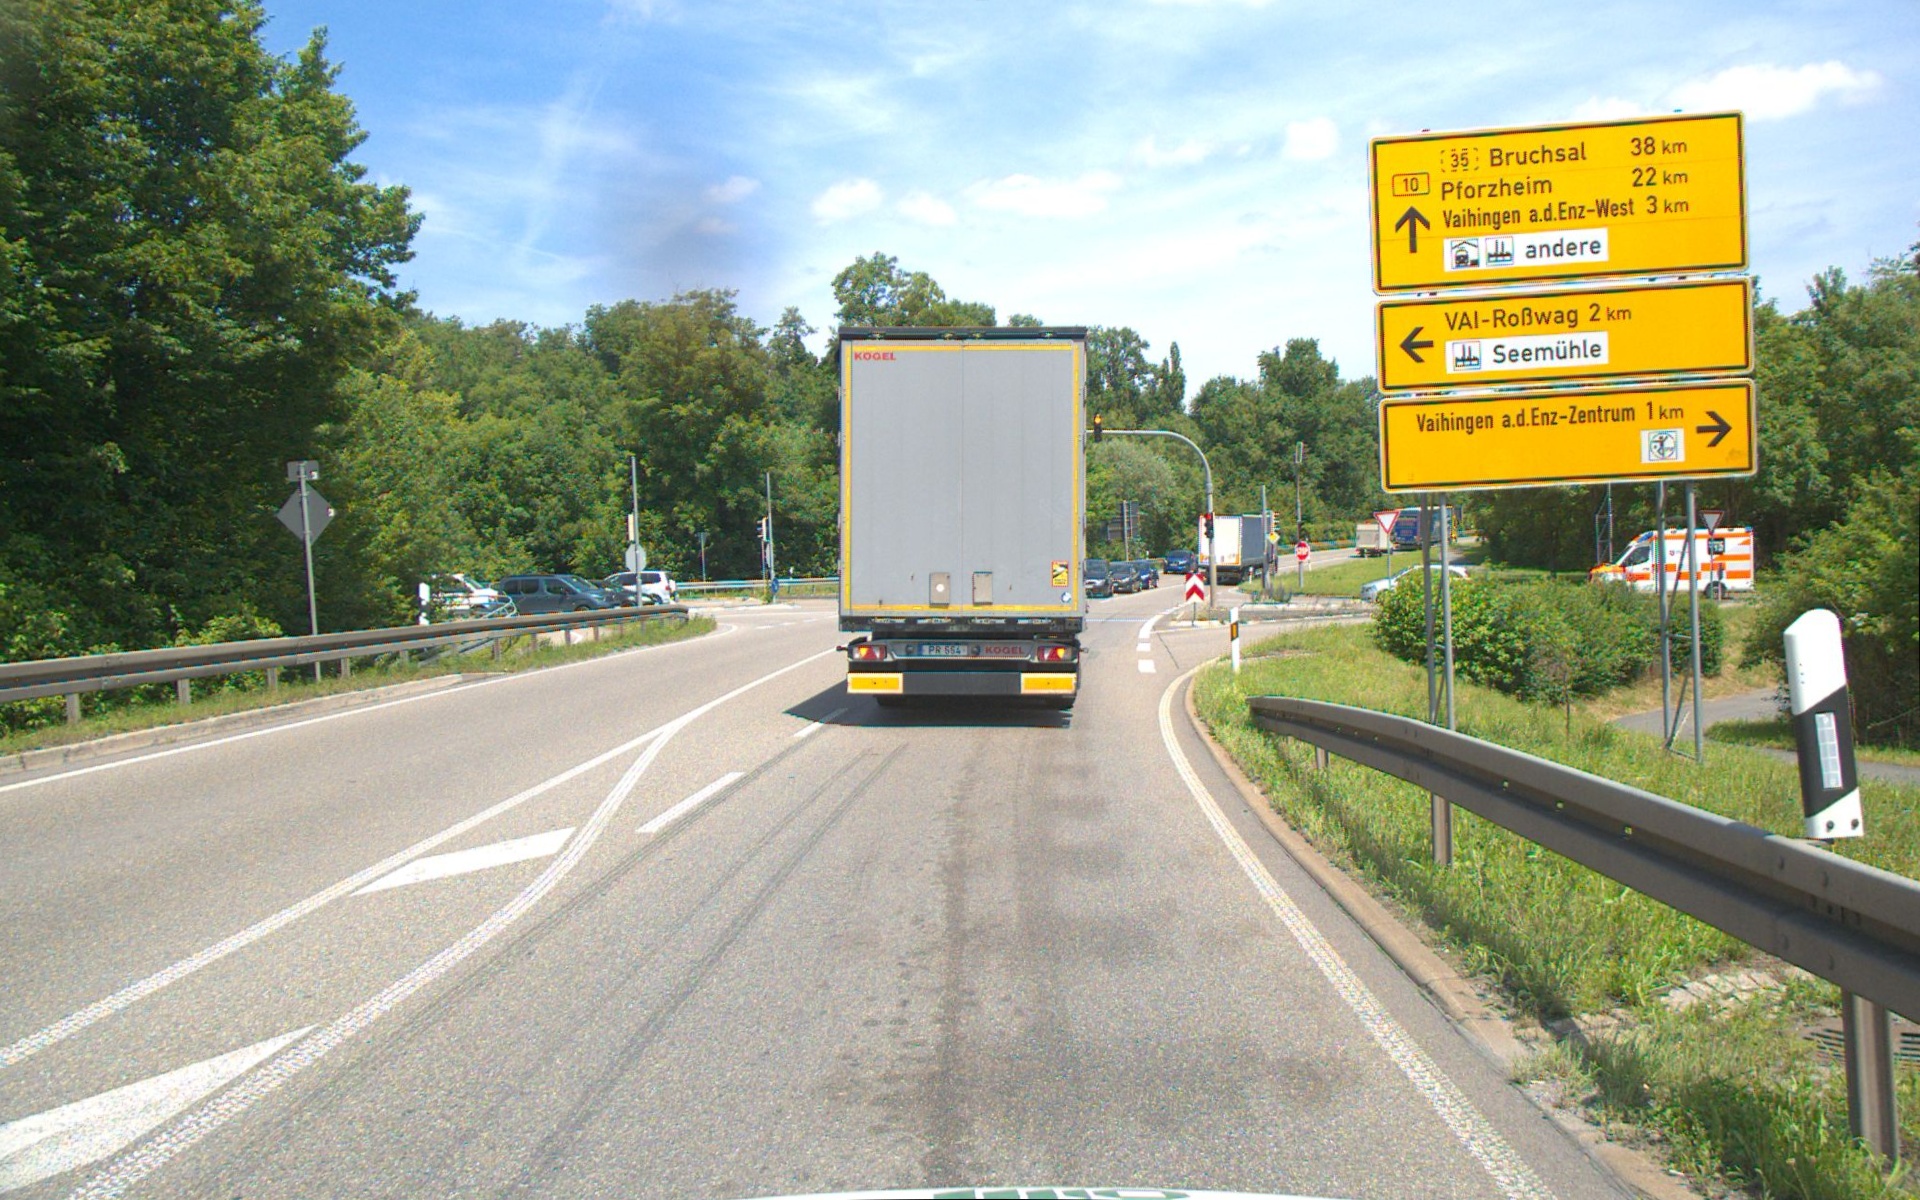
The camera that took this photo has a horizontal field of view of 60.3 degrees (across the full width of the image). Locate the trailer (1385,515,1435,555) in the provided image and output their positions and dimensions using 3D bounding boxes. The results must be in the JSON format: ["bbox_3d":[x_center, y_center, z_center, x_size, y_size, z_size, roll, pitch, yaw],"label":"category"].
[{"bbox_3d":[44.836,-6.415,164.499,3.187,3.749,9.243,0,1,26],"label":"trailer"}]

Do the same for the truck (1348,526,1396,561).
[{"bbox_3d":[37.327,-5.059,149.740,2.799,2.999,7.099,0,1,26],"label":"truck"}]

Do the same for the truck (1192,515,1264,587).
[{"bbox_3d":[16.421,-2.905,100.577,3.112,4.099,11.754,0,1,15],"label":"truck"}]

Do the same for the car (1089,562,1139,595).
[{"bbox_3d":[7.800,-1.058,83.433,1.951,1.517,4.261,1,-1,12],"label":"car"}]

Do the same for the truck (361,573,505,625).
[{"bbox_3d":[-19.679,-0.023,61.936,4.784,1.823,2.040,1,-1,-8],"label":"truck"}]

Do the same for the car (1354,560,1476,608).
[{"bbox_3d":[17.477,-0.594,63.665,4.333,1.748,2.002,1,-1,9],"label":"car"}]

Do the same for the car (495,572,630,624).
[{"bbox_3d":[-13.994,-0.064,58.304,4.143,1.801,2.002,0,0,14],"label":"car"}]

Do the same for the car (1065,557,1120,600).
[{"bbox_3d":[6.186,-0.978,76.524,1.951,1.816,4.946,1,-1,11],"label":"car"}]

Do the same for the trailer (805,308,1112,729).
[{"bbox_3d":[0.285,-0.895,22.474,2.988,4.104,12.564,0,1,3],"label":"trailer"}]

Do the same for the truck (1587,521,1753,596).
[{"bbox_3d":[27.928,-1.605,65.182,5.891,2.775,2.500,1,-1,25],"label":"truck"}]

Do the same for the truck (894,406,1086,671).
[{"bbox_3d":[0.627,-1.010,29.107,2.974,4.104,6.632,0,1,3],"label":"truck"}]

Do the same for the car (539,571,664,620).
[{"bbox_3d":[-13.521,-0.179,62.414,4.143,1.801,2.002,0,0,14],"label":"car"}]

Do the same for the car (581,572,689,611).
[{"bbox_3d":[-13.425,-0.348,68.426,3.902,1.546,2.001,1,-1,9],"label":"car"}]

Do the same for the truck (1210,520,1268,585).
[{"bbox_3d":[17.976,-3.005,106.234,3.101,4.074,5.820,0,1,15],"label":"truck"}]
